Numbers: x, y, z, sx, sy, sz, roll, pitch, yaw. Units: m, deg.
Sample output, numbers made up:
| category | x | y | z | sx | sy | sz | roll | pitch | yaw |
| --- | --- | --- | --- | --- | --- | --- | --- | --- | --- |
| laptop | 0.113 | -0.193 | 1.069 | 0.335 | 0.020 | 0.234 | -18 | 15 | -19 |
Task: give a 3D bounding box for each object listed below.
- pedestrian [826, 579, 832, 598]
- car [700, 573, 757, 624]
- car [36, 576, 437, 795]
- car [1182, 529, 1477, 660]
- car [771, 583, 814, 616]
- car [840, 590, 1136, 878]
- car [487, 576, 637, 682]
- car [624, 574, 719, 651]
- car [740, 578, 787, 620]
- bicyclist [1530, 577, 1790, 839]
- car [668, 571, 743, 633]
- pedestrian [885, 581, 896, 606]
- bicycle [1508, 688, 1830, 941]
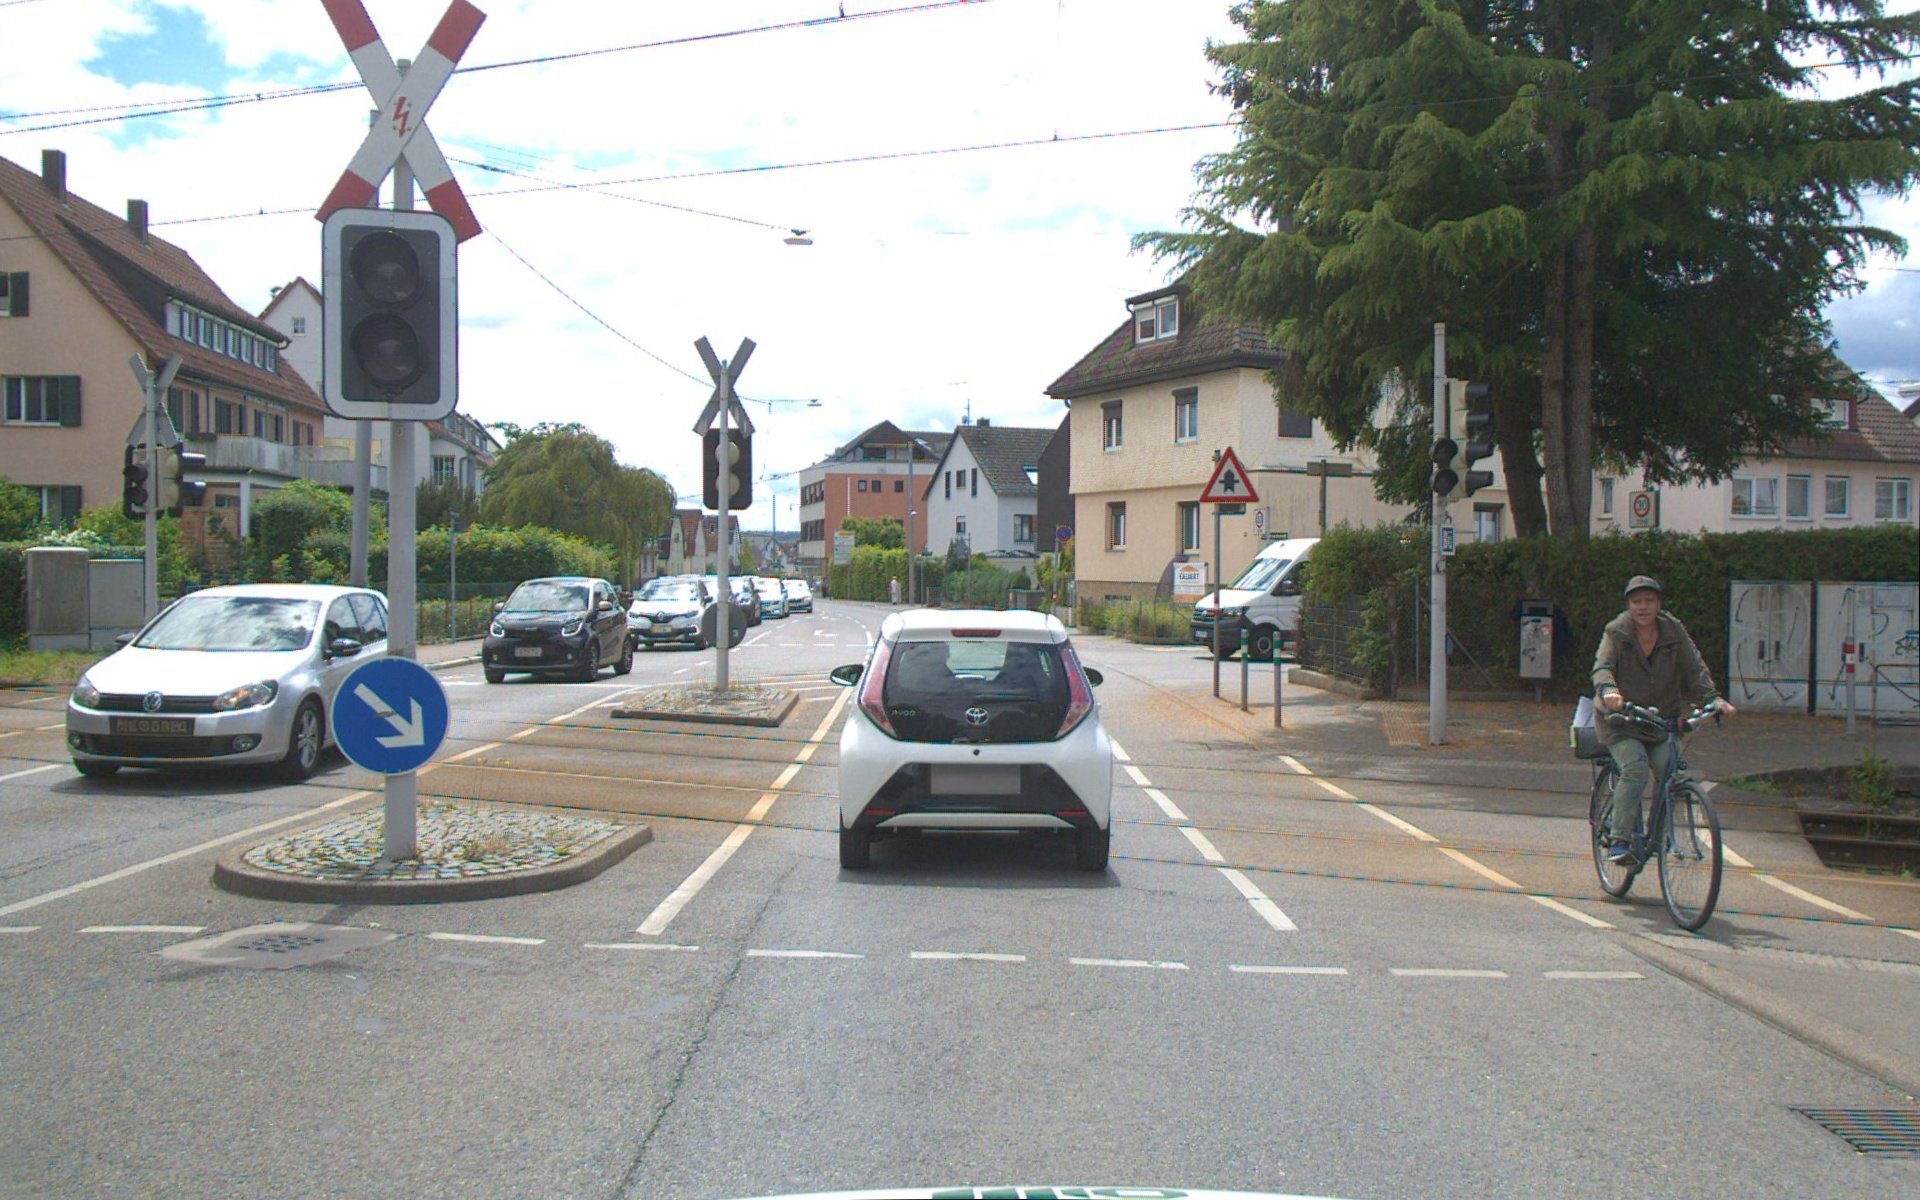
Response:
| category | x | y | z | sx | sy | sz | roll | pitch | yaw |
| --- | --- | --- | --- | --- | --- | --- | --- | --- | --- |
| pedestrian | -9.870 | -0.878 | 124.253 | 0.406 | 1.463 | 0.436 | 1 | 1 | -11 |
| car | -7.719 | -0.059 | 55.339 | 1.741 | 1.631 | 4.163 | 1 | 0 | -6 |
| car | -5.866 | 0.594 | 13.974 | 1.654 | 1.483 | 4.069 | 1 | 2 | -1 |
| car | 7.807 | -0.127 | 35.004 | 5.899 | 2.626 | 1.991 | 0 | 1 | -17 |
| car | -7.602 | -0.035 | 74.862 | 1.742 | 1.455 | 4.513 | 1 | 0 | -9 |
| car | 0.139 | 0.720 | 11.013 | 1.588 | 1.512 | 4.000 | 1 | 1 | -1 |
| car | -6.082 | 0.403 | 25.560 | 1.542 | 1.536 | 2.789 | 0 | 1 | 2 |
| car | -6.496 | 0.252 | 37.592 | 1.740 | 1.631 | 4.035 | 1 | 0 | -5 |
| car | -7.733 | -0.053 | 65.111 | 1.741 | 1.589 | 4.163 | 1 | 0 | -7 |
| bicyclist | 3.649 | 0.532 | 8.723 | 0.912 | 1.269 | 1.102 | 1 | 0 | 2 |
| car | -7.041 | 0.046 | 46.085 | 1.740 | 1.631 | 4.035 | 1 | 0 | -5 |
| pedestrian | -4.001 | -0.383 | 95.203 | 0.407 | 1.463 | 0.435 | 2 | 1 | 44 |
| bicycle | 3.633 | 1.052 | 8.695 | 0.912 | 1.058 | 1.915 | 1 | 0 | 2 |
